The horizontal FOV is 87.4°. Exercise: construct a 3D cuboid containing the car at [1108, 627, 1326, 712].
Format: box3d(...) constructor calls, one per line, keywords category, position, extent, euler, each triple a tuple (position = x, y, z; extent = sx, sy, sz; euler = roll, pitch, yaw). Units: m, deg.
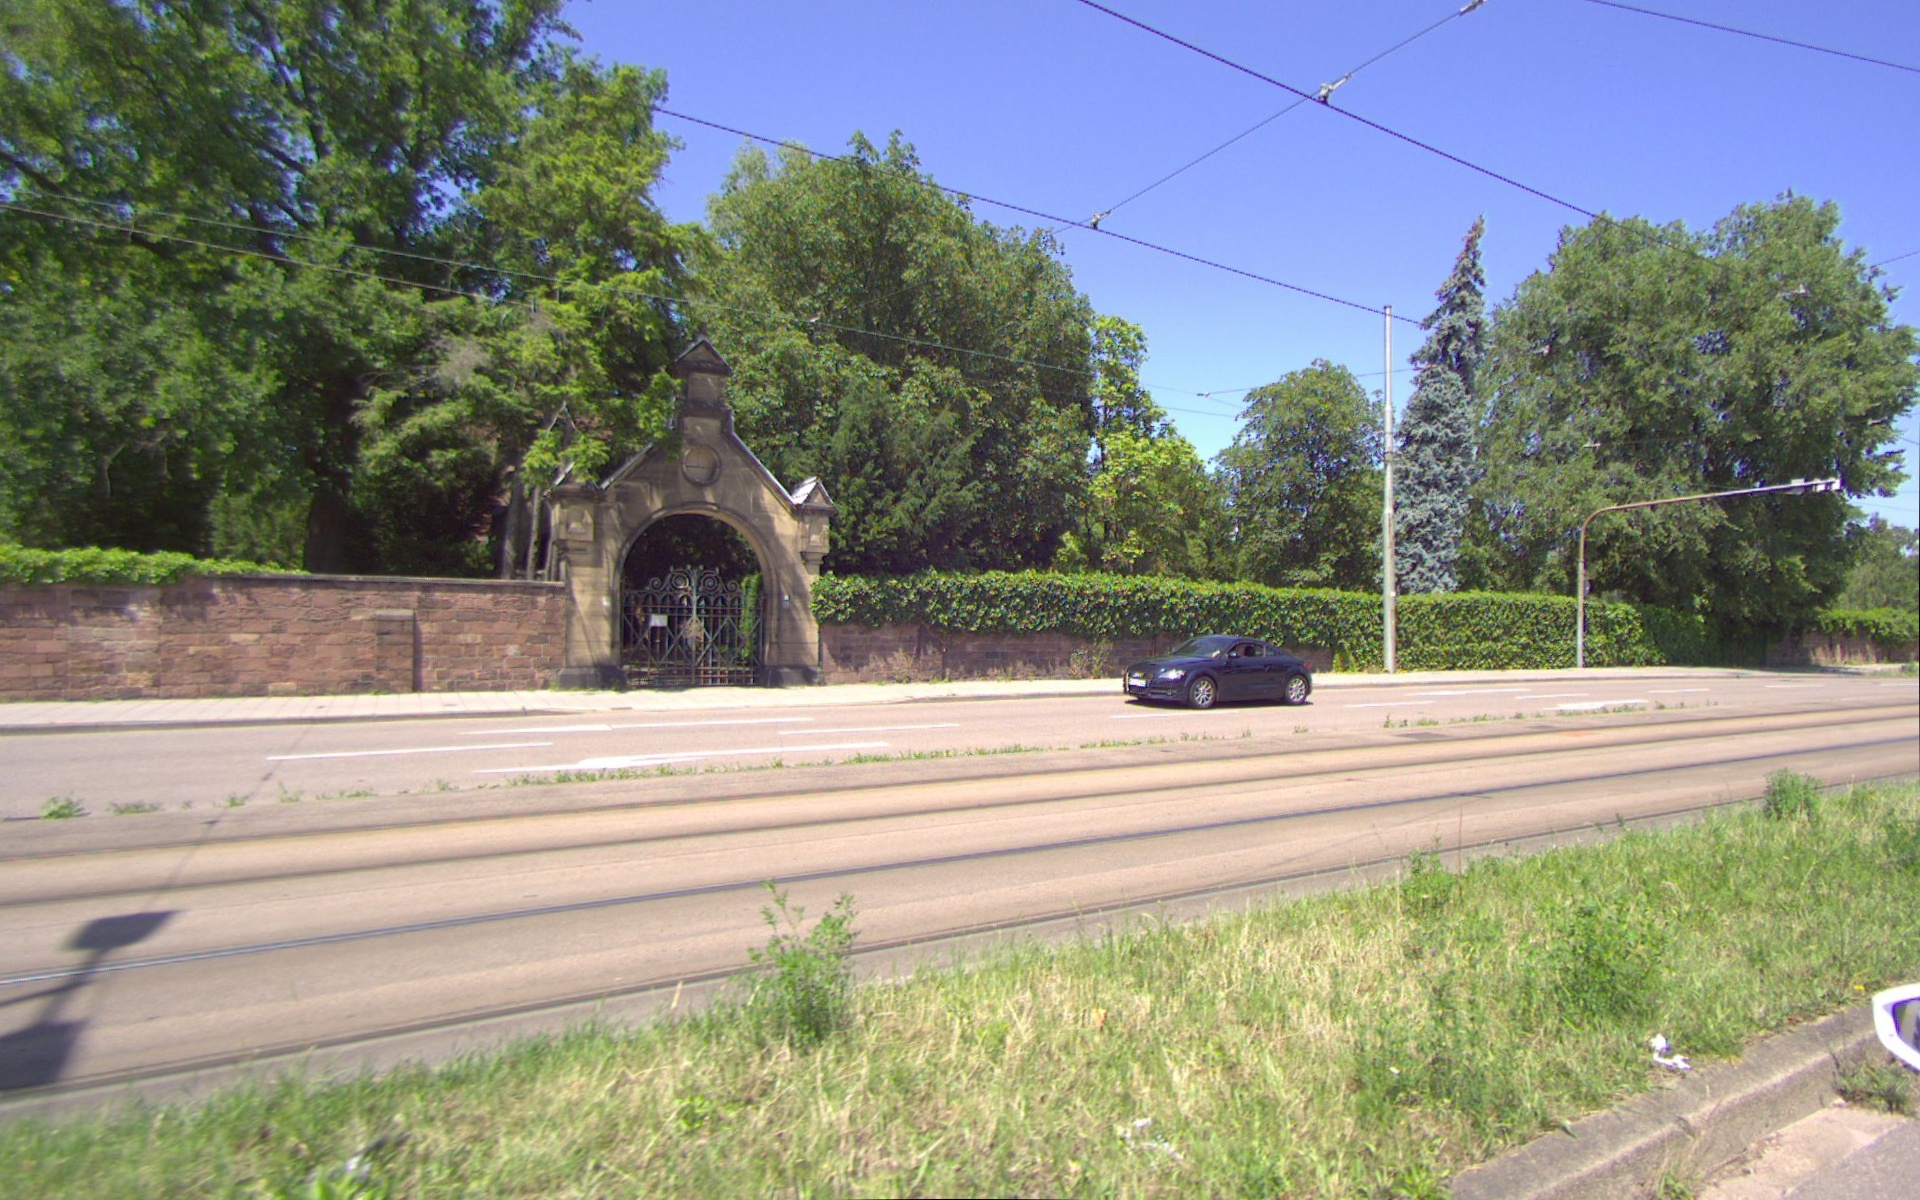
box3d(category="car", position=(5.095, 1.315, 19.832), extent=(4.072, 1.468, 1.748), euler=(1, 0, -29))
